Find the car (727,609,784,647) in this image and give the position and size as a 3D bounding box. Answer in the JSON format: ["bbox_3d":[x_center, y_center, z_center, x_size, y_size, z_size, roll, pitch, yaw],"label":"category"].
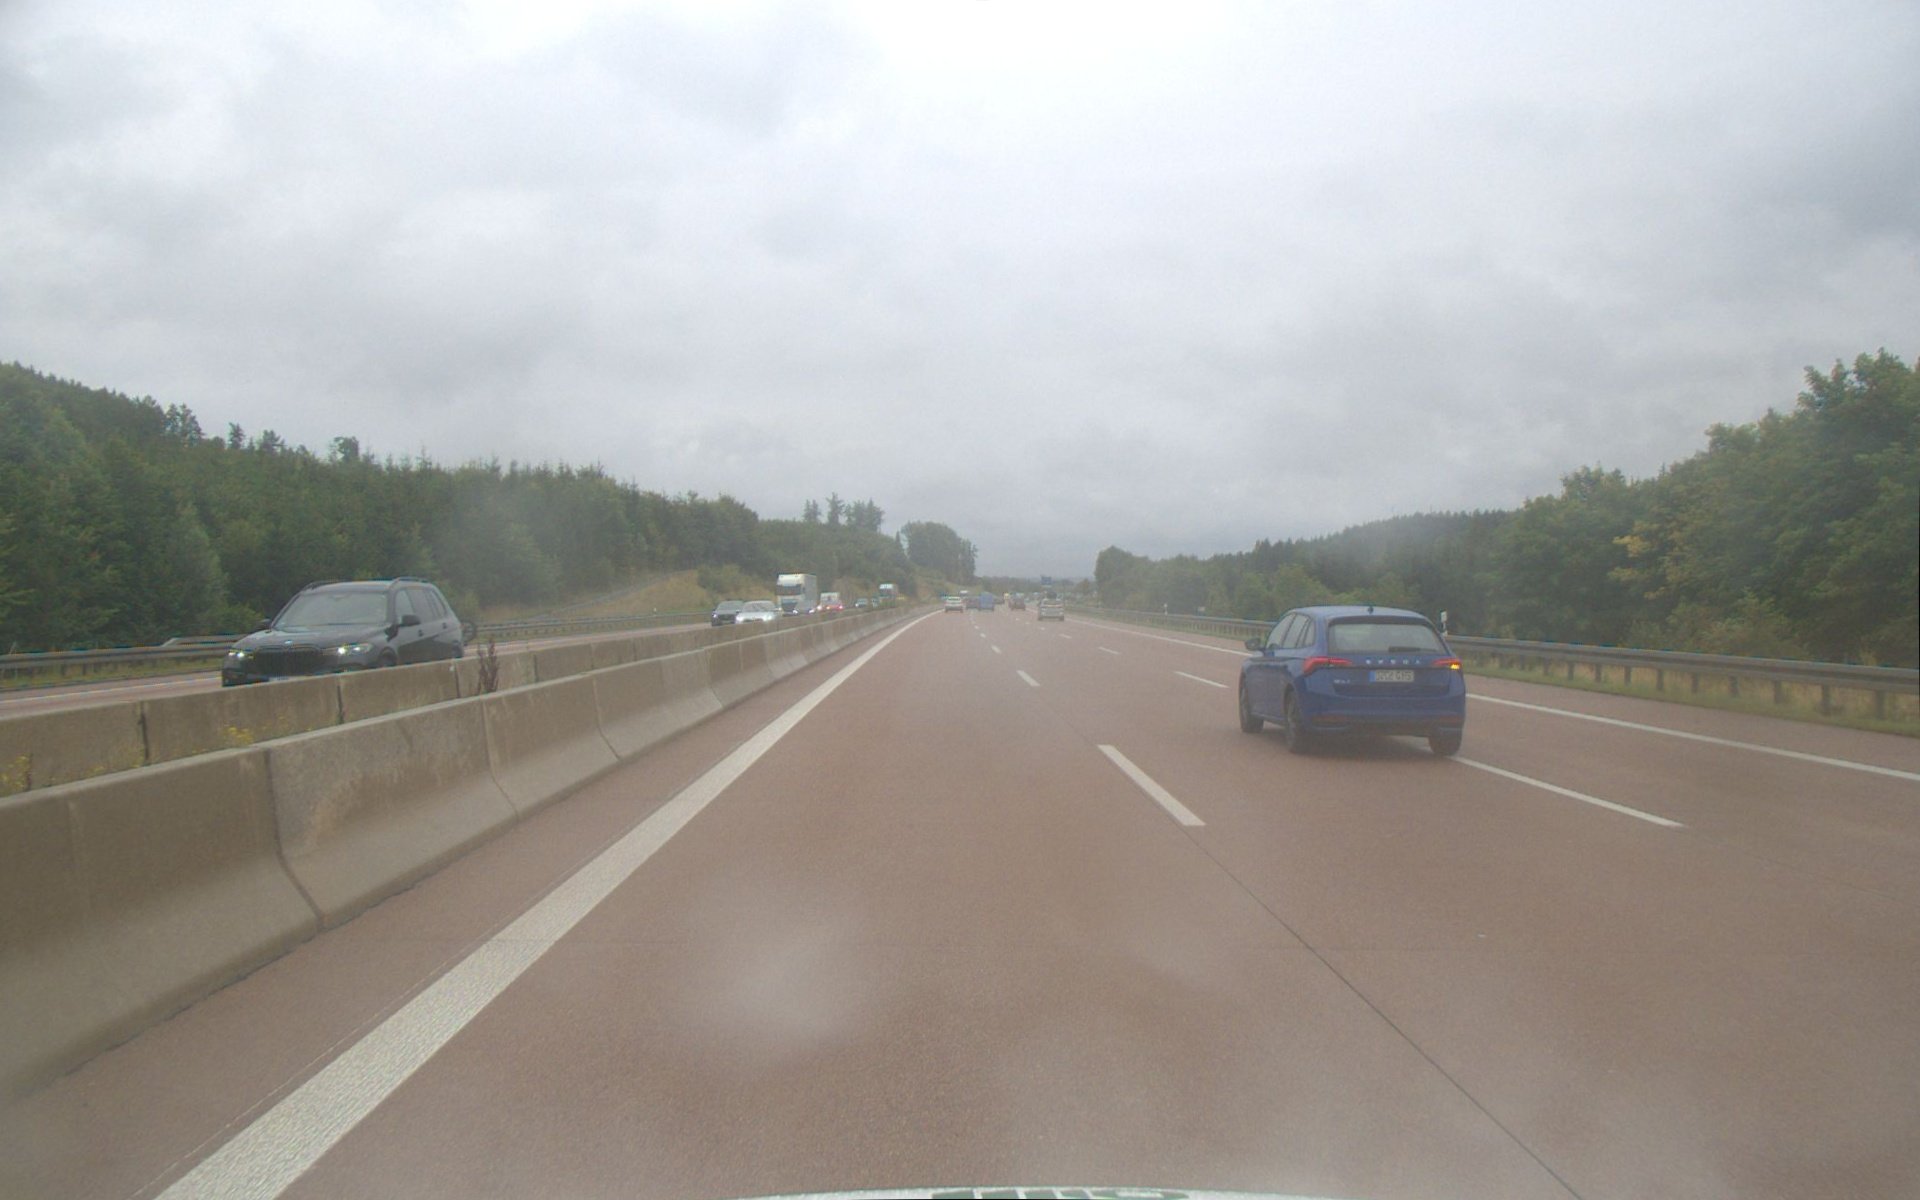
[{"bbox_3d":[-9.090,1.265,73.929,1.953,1.587,4.945,1,-1,-1],"label":"car"}]

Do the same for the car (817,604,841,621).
[{"bbox_3d":[-12.673,1.223,160.631,1.953,1.572,4.279,-2,-1,0],"label":"car"}]

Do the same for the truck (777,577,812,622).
[{"bbox_3d":[-16.119,-0.017,161.300,2.712,4.249,6.000,-1,-1,0],"label":"truck"}]

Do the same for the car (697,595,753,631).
[{"bbox_3d":[-12.947,0.752,91.440,2.234,1.894,5.727,1,-1,0],"label":"car"}]

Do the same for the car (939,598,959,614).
[{"bbox_3d":[-1.132,0.609,167.236,1.836,1.470,4.875,1,-1,-1],"label":"car"}]

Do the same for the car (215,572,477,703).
[{"bbox_3d":[-8.256,0.441,22.763,1.827,1.578,4.807,1,0,-1],"label":"car"}]

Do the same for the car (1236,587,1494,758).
[{"bbox_3d":[4.197,0.723,17.792,1.735,1.591,4.146,1,-1,0],"label":"car"}]

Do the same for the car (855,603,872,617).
[{"bbox_3d":[-11.761,1.217,201.345,1.657,1.584,5.677,-2,0,0],"label":"car"}]

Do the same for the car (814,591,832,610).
[{"bbox_3d":[-16.362,0.094,197.631,1.722,2.190,4.427,-2,0,-1],"label":"car"}]

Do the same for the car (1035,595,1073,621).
[{"bbox_3d":[6.648,0.581,117.555,2.276,1.780,4.874,1,-1,-2],"label":"car"}]

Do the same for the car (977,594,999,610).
[{"bbox_3d":[3.225,0.222,189.874,2.276,1.780,4.874,1,-1,-2],"label":"car"}]

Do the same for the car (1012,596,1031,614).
[{"bbox_3d":[7.562,0.632,204.119,1.953,2.049,3.998,1,-1,-2],"label":"car"}]
